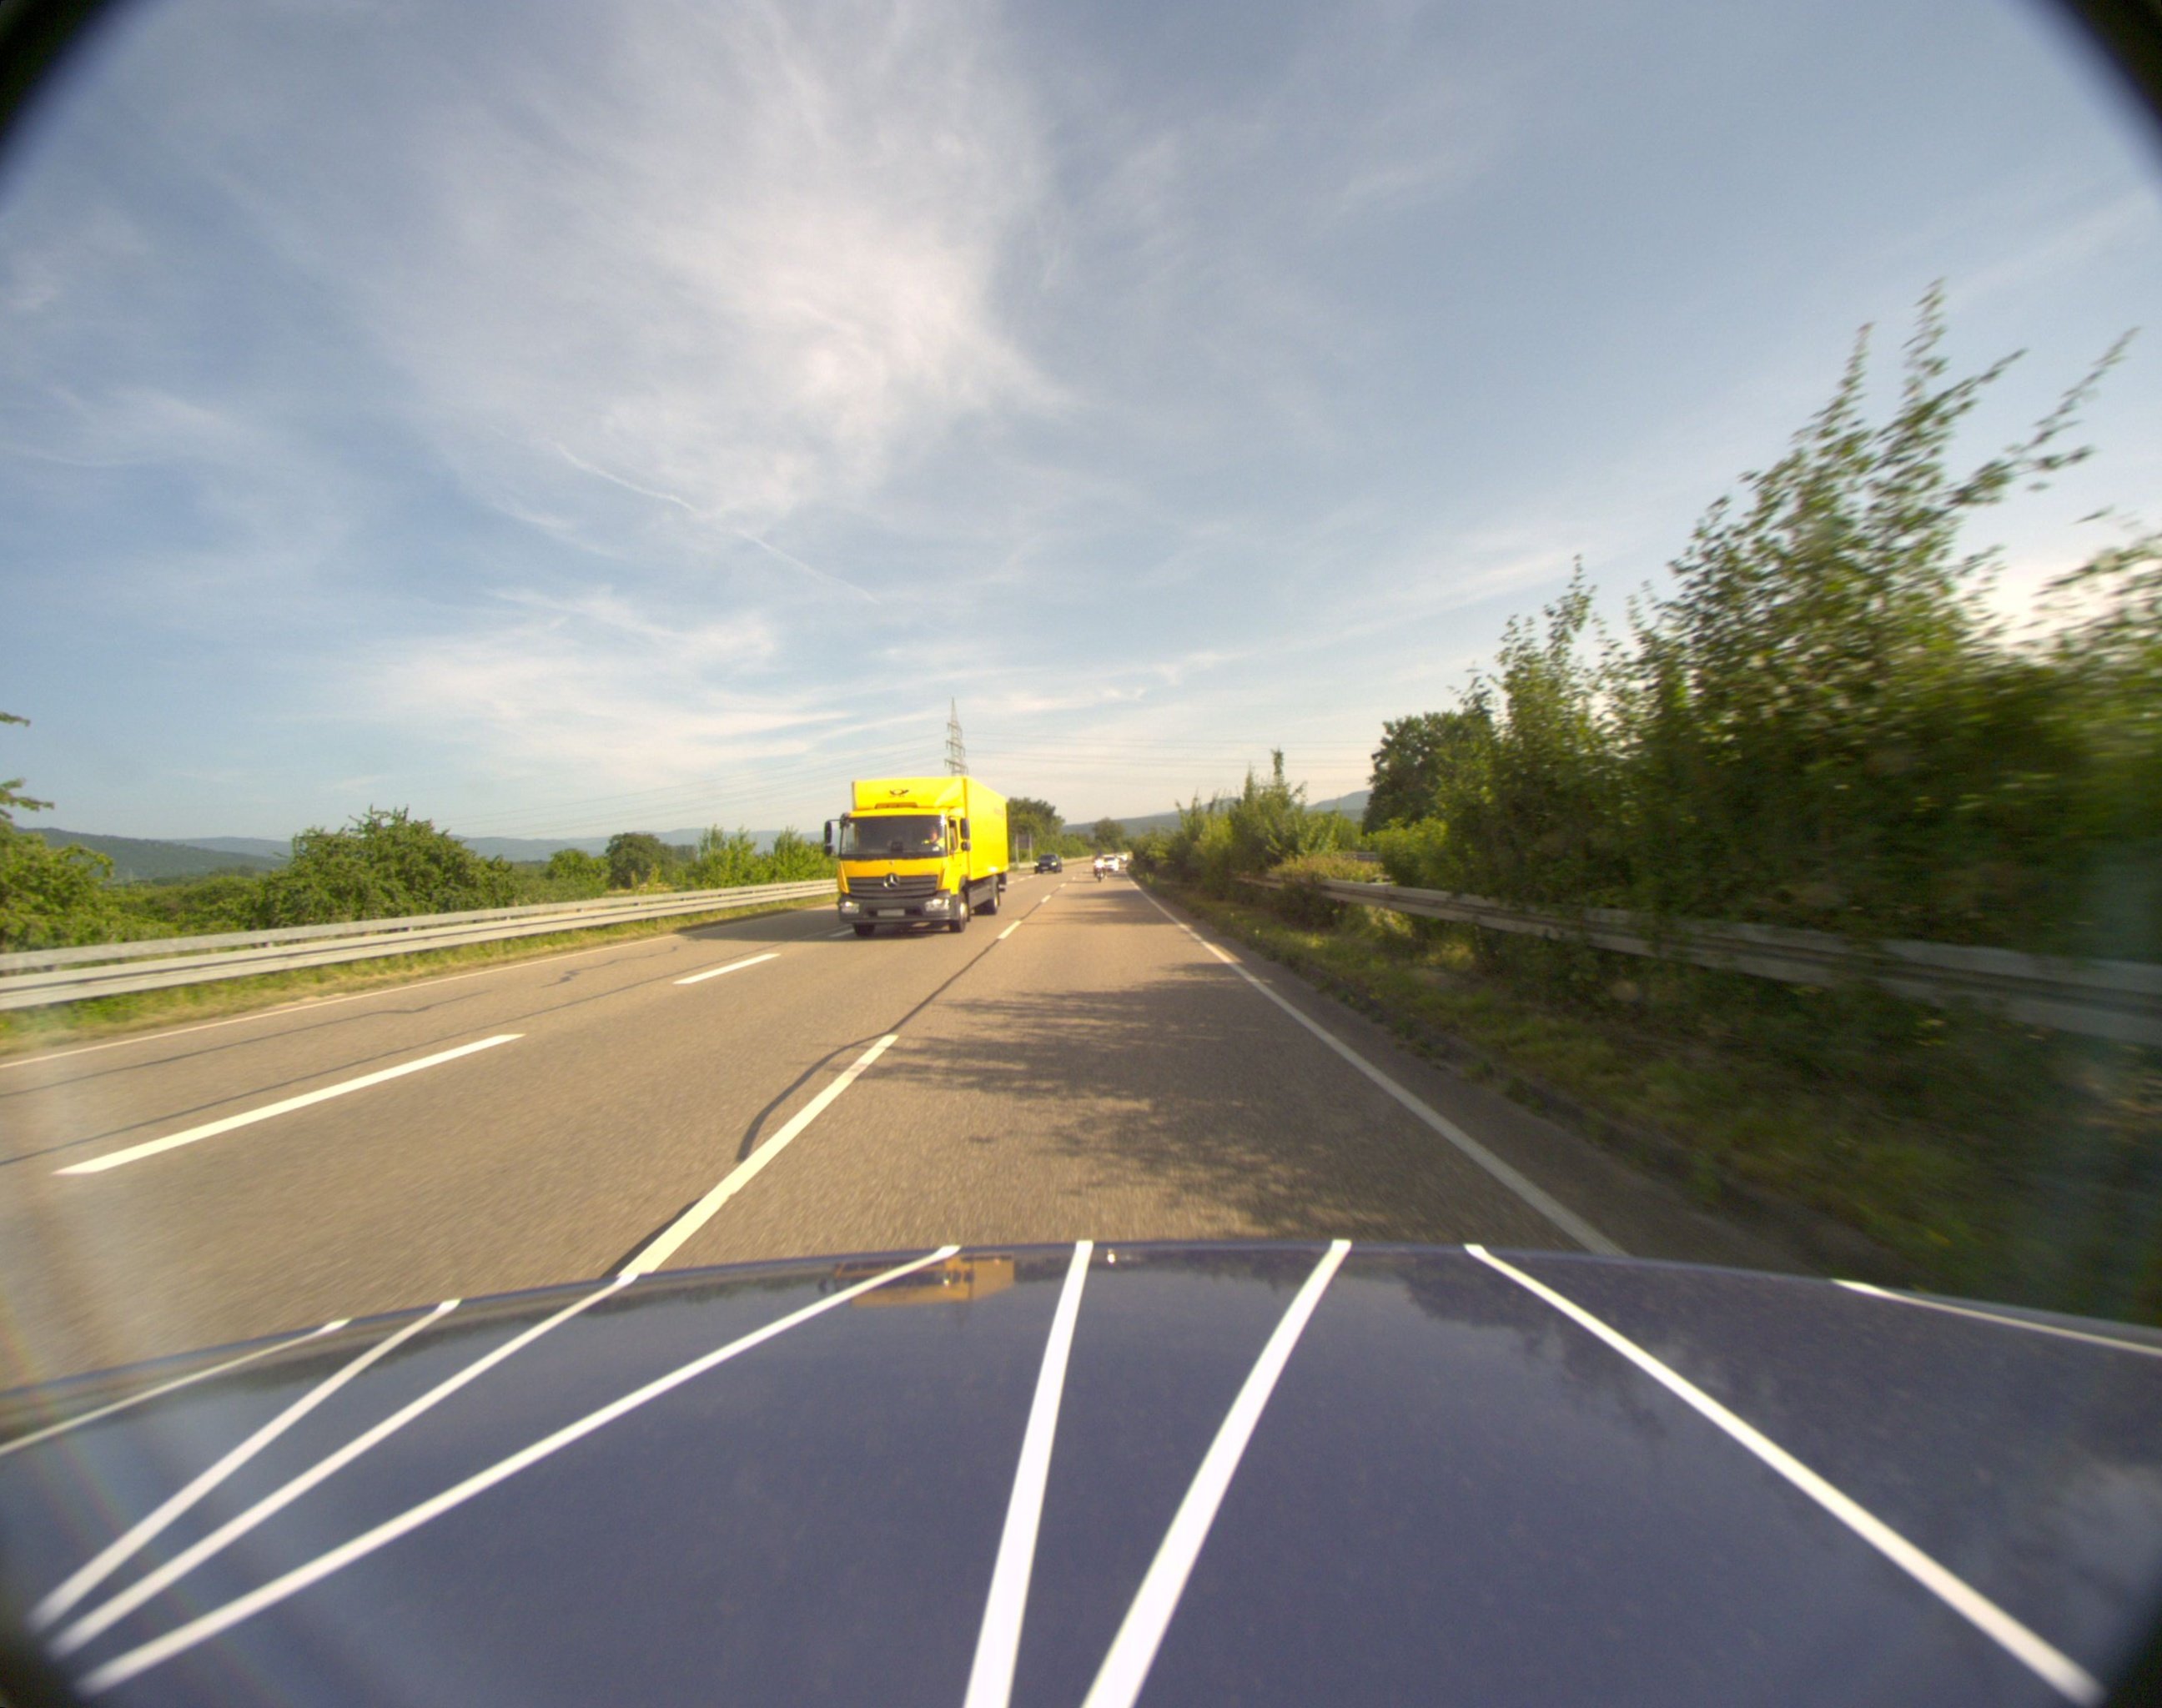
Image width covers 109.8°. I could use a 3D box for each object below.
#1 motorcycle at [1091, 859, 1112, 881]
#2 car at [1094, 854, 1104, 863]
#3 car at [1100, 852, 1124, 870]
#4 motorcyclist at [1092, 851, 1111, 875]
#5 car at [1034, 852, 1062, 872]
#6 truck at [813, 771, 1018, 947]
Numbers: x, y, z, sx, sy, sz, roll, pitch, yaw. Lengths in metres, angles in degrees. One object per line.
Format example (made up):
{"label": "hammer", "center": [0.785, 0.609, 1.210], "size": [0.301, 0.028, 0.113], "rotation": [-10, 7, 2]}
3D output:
{"label": "motorcycle", "center": [1.173, 0.868, 43.056], "size": [0.936, 1.132, 2.583], "rotation": [-1, 1, 6]}
{"label": "car", "center": [3.072, 0.761, 131.175], "size": [1.677, 1.541, 3.826], "rotation": [-2, 1, 0]}
{"label": "car", "center": [2.681, 0.595, 65.215], "size": [1.869, 1.454, 4.084], "rotation": [-2, 0, 4]}
{"label": "motorcyclist", "center": [1.159, 0.497, 43.080], "size": [0.936, 1.344, 1.143], "rotation": [-1, 1, 5]}
{"label": "car", "center": [-2.907, 0.692, 67.360], "size": [1.877, 1.630, 4.001], "rotation": [-1, 1, 6]}
{"label": "truck", "center": [-3.628, 0.101, 19.890], "size": [2.785, 3.297, 10.489], "rotation": [-2, 0, 1]}
